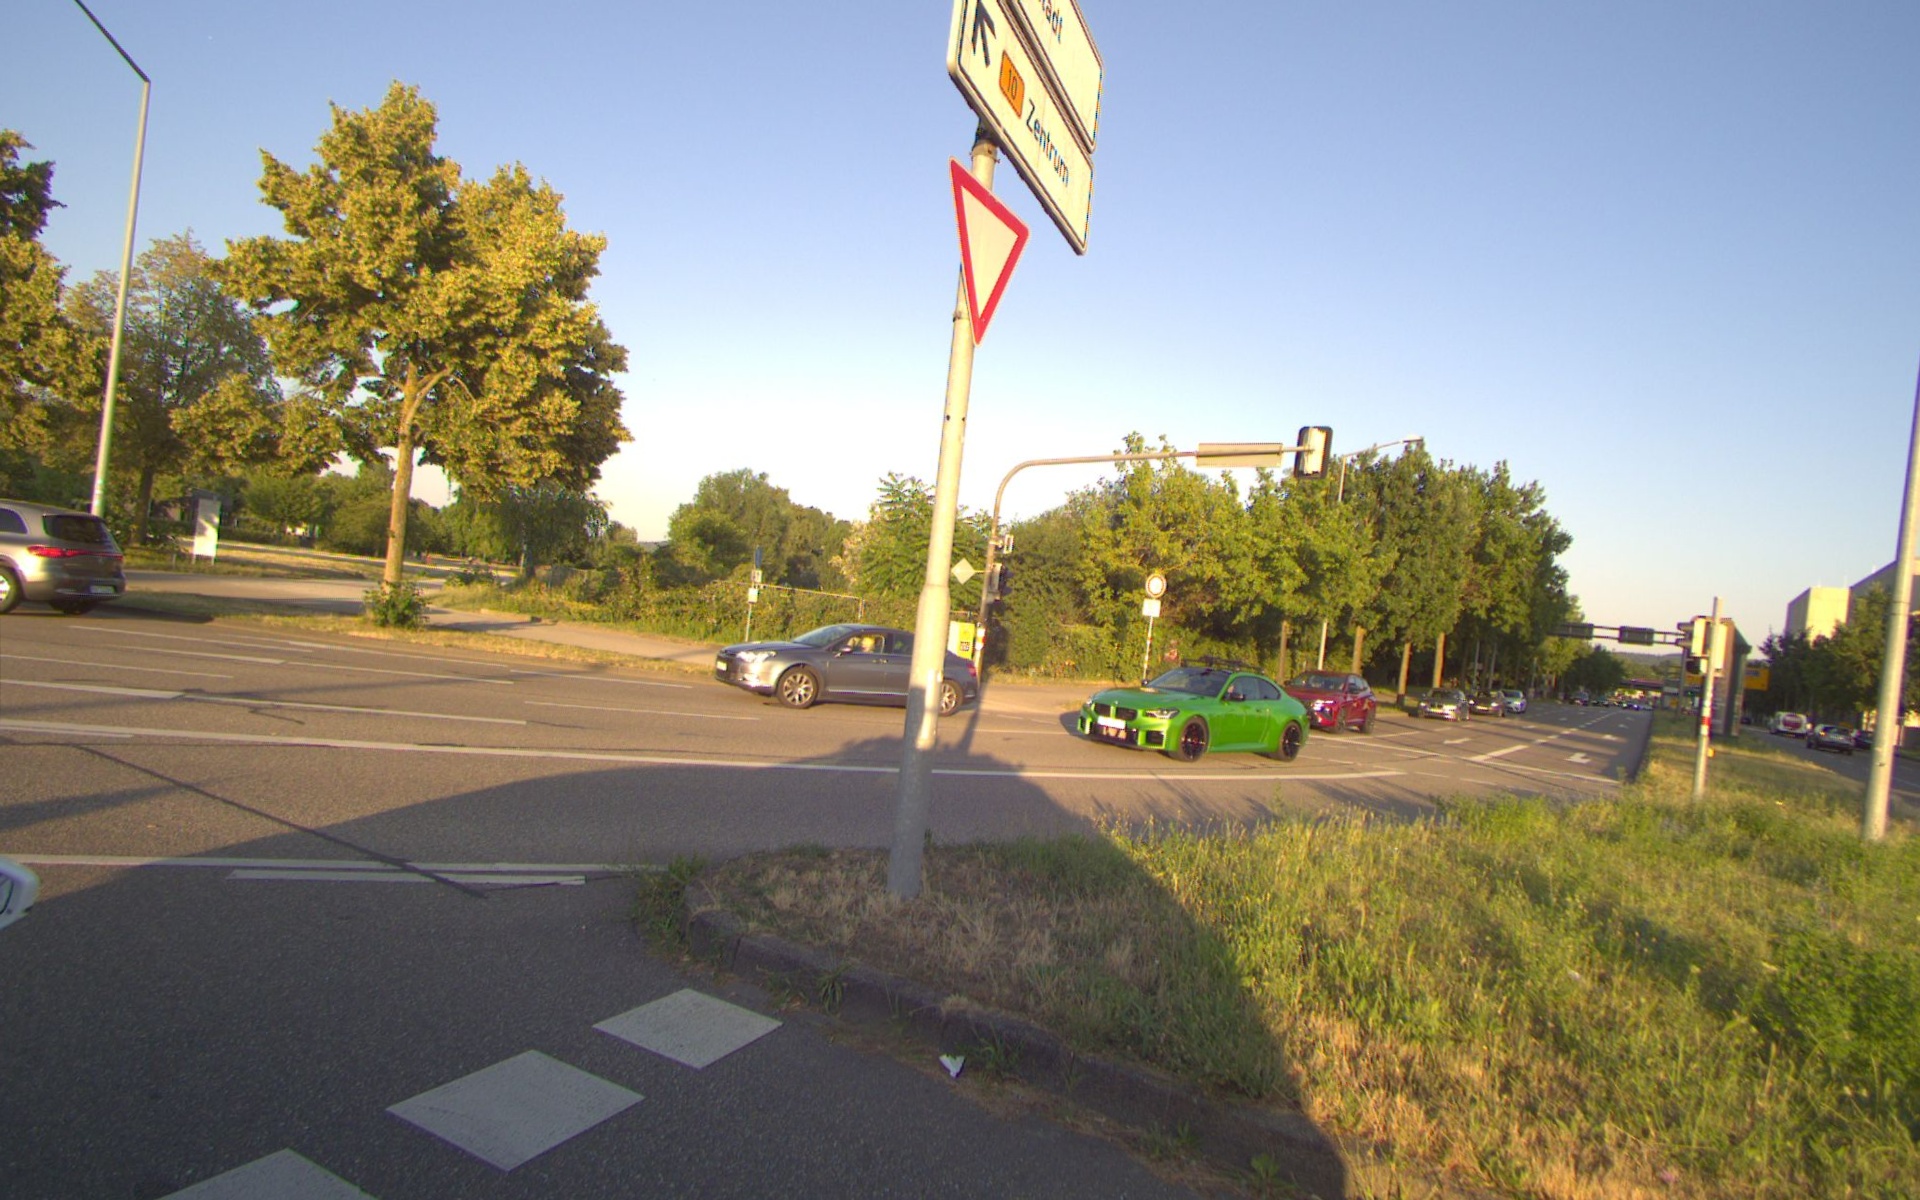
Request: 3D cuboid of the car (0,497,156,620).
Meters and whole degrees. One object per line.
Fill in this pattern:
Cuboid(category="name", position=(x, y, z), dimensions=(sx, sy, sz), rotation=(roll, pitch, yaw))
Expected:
Cuboid(category="car", position=(-15.253, -0.820, 15.083), dimensions=(4.450, 1.657, 1.996), rotation=(7, 0, -10))

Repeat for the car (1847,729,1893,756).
Cuboid(category="car", position=(62.541, 9.767, 69.200), dimensions=(1.971, 1.444, 4.183), rotation=(7, -1, 39))

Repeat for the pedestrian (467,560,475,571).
Cuboid(category="pedestrian", position=(-80.859, -5.690, 166.317), dimensions=(0.841, 1.681, 0.976), rotation=(7, 0, -14))

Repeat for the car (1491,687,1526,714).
Cuboid(category="car", position=(35.180, 6.455, 64.510), dimensions=(1.837, 1.470, 3.967), rotation=(3, -4, 30))

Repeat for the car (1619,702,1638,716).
Cuboid(category="car", position=(93.505, 15.229, 140.713), dimensions=(1.969, 1.523, 4.758), rotation=(7, -1, 35))

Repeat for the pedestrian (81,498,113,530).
Cuboid(category="pedestrian", position=(-50.163, -5.002, 58.473), dimensions=(0.896, 1.637, 1.070), rotation=(7, 0, 34))

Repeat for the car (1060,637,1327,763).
Cuboid(category="car", position=(3.863, 1.632, 16.180), dimensions=(4.458, 1.598, 1.976), rotation=(8, -2, -44))

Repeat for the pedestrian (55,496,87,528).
Cuboid(category="pedestrian", position=(-51.039, -5.020, 57.745), dimensions=(0.896, 1.637, 1.070), rotation=(7, 0, 34))

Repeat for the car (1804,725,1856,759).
Cuboid(category="car", position=(51.432, 8.363, 59.550), dimensions=(1.970, 1.648, 3.986), rotation=(7, -1, 38))

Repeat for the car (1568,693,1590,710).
Cuboid(category="car", position=(72.484, 11.887, 117.767), dimensions=(1.885, 1.602, 4.170), rotation=(7, -1, 35))

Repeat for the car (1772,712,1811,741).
Cuboid(category="car", position=(68.344, 10.372, 82.749), dimensions=(2.037, 1.970, 4.944), rotation=(7, -1, 37))

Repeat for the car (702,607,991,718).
Cuboid(category="car", position=(-1.931, 1.127, 17.688), dimensions=(4.623, 1.481, 1.872), rotation=(7, -3, -32))

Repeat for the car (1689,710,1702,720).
Cuboid(category="car", position=(150.545, 23.570, 205.983), dimensions=(1.969, 1.804, 3.988), rotation=(7, -1, 37))

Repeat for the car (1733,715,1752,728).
Cuboid(category="car", position=(127.226, 19.742, 163.519), dimensions=(1.968, 1.593, 3.991), rotation=(7, -1, 33))

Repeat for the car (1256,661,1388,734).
Cuboid(category="car", position=(10.061, 2.699, 27.748), dimensions=(1.971, 1.592, 4.399), rotation=(7, -1, 39))

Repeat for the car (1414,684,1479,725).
Cuboid(category="car", position=(21.668, 4.613, 44.737), dimensions=(1.838, 1.407, 4.151), rotation=(9, 1, 35))

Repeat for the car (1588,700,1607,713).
Cuboid(category="car", position=(90.412, 15.120, 142.733), dimensions=(1.967, 1.522, 4.614), rotation=(6, -2, 31))

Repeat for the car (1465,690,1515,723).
Cuboid(category="car", position=(29.200, 5.833, 55.351), dimensions=(1.838, 1.471, 4.152), rotation=(7, -1, 35))
